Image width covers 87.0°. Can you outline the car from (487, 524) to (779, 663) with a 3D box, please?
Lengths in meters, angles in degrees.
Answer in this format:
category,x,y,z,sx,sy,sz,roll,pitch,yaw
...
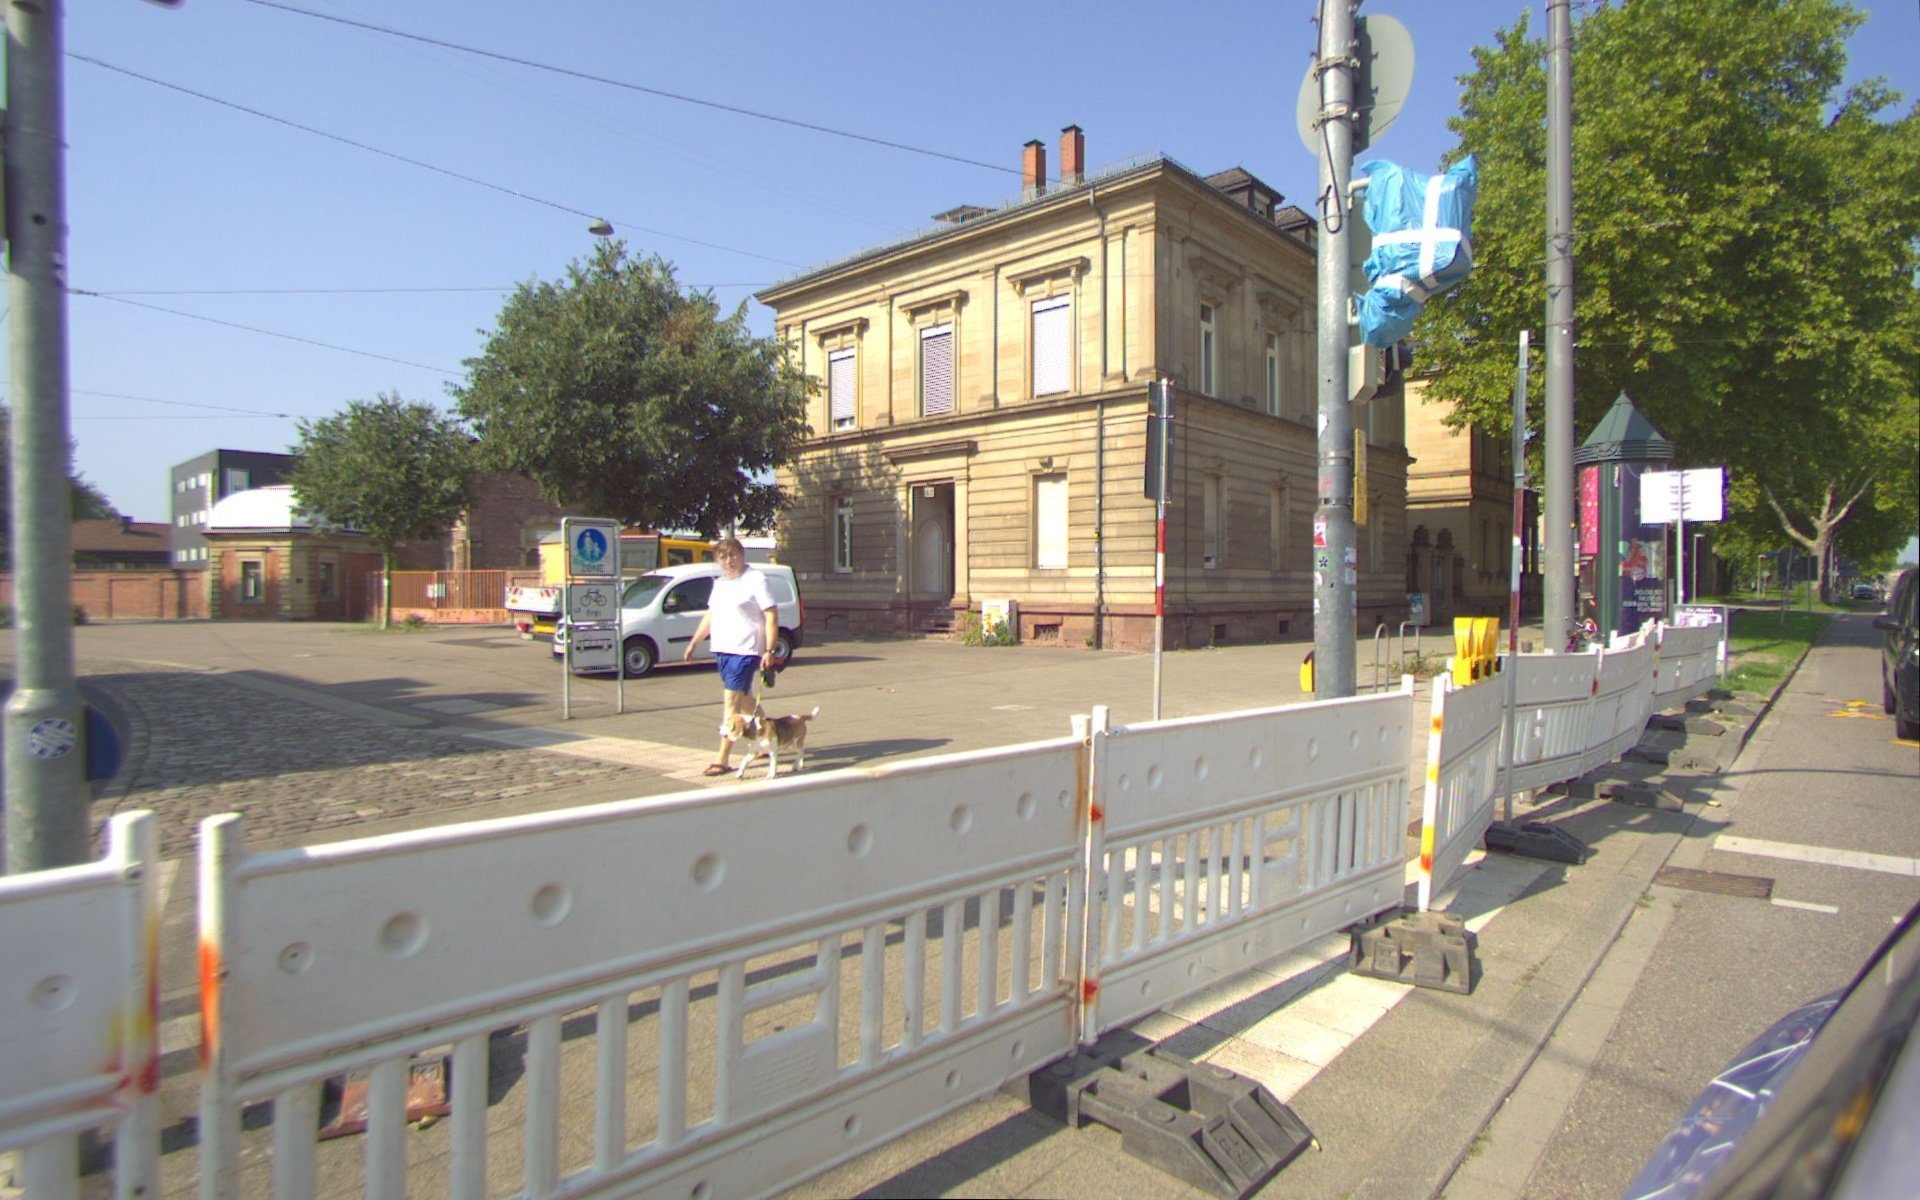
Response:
category,x,y,z,sx,sy,sz,roll,pitch,yaw
car,-6.508,-0.175,20.811,2.253,2.453,5.413,1,1,38

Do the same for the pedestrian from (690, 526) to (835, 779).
category,x,y,z,sx,sy,sz,roll,pitch,yaw
pedestrian,-1.476,0.355,7.574,0.864,1.759,0.662,0,1,36

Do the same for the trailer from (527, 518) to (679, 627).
category,x,y,z,sx,sy,sz,roll,pitch,yaw
trailer,-10.848,-0.843,30.715,4.096,3.085,2.482,1,2,36

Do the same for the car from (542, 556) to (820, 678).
category,x,y,z,sx,sy,sz,roll,pitch,yaw
car,-4.632,0.188,17.158,4.155,1.805,1.906,-1,3,-43

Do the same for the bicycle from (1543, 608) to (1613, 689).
category,x,y,z,sx,sy,sz,roll,pitch,yaw
bicycle,8.670,0.653,14.169,0.538,1.019,1.547,2,2,42

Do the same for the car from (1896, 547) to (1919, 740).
category,x,y,z,sx,sy,sz,roll,pitch,yaw
car,11.430,0.381,10.941,1.847,1.910,4.115,-1,0,42
